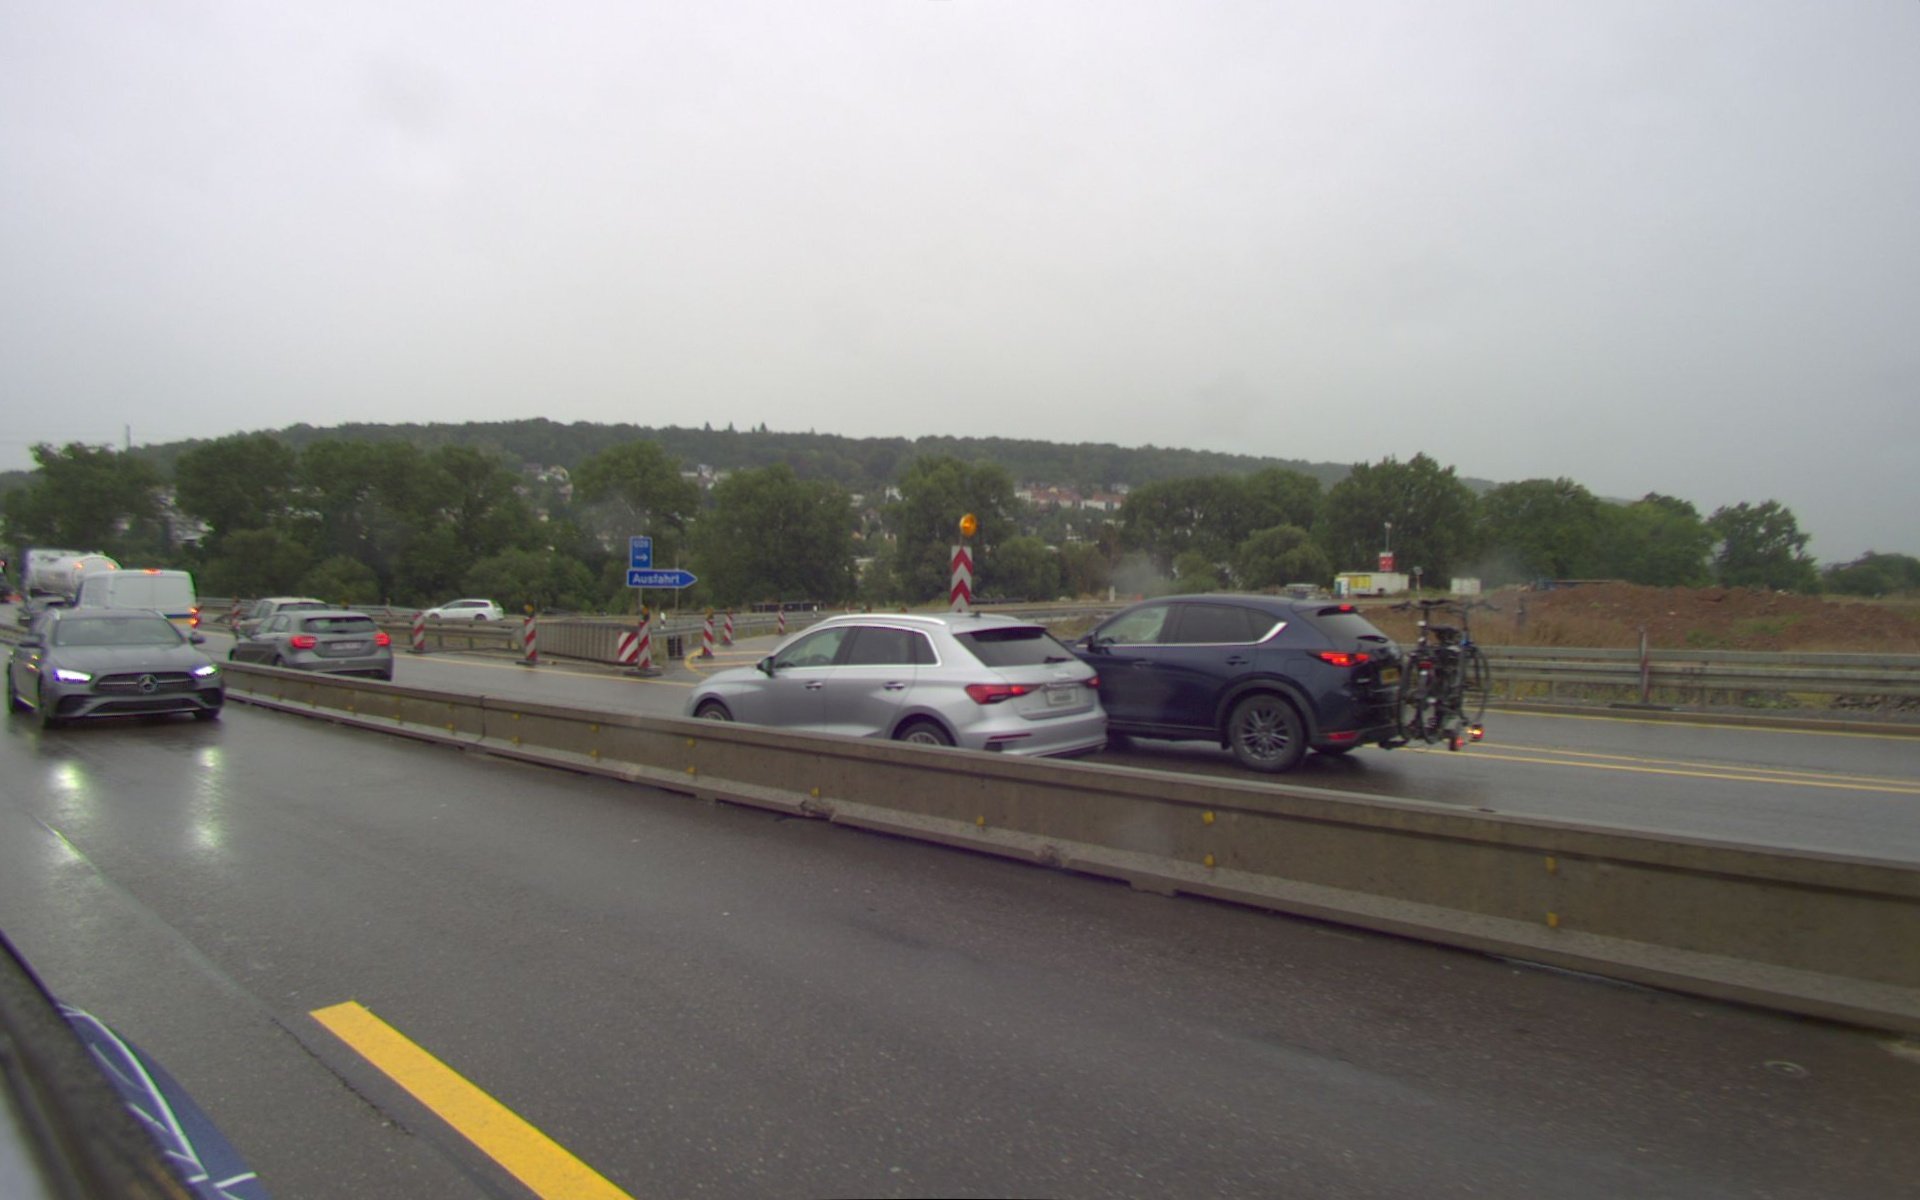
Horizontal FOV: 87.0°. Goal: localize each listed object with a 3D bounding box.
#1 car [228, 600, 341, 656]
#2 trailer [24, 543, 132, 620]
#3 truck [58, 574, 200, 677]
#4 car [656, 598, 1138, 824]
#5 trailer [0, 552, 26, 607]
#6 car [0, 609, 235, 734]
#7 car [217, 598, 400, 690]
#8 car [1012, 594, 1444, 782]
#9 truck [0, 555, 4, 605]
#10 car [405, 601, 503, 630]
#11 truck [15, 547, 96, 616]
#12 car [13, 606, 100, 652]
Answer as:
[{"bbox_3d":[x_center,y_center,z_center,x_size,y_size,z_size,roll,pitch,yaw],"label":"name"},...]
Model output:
[{"bbox_3d":[-19.998,0.779,29.895,3.997,1.558,1.769,0,0,41],"label":"car"},{"bbox_3d":[-47.060,-0.977,53.826,11.995,3.705,2.594,1,0,40],"label":"trailer"},{"bbox_3d":[-23.185,0.592,28.142,5.958,2.595,2.057,1,1,41],"label":"truck"},{"bbox_3d":[-0.744,0.784,8.944,4.342,1.535,1.659,-1,-1,41],"label":"car"},{"bbox_3d":[-76.805,-1.601,79.995,15.352,4.072,2.721,1,1,41],"label":"trailer"},{"bbox_3d":[-11.835,0.872,14.072,4.482,1.449,1.926,-1,-1,42],"label":"car"},{"bbox_3d":[-12.377,0.749,19.128,4.309,1.550,1.768,0,0,41],"label":"car"},{"bbox_3d":[2.573,0.749,10.221,3.874,1.535,1.708,-1,-1,41],"label":"car"},{"bbox_3d":[-82.662,-1.700,85.146,6.145,4.092,2.721,1,1,41],"label":"truck"},{"bbox_3d":[-30.462,0.929,61.050,4.965,1.713,1.854,1,0,-9],"label":"car"},{"bbox_3d":[-51.797,-1.052,57.884,6.590,3.705,2.594,1,0,40],"label":"truck"},{"bbox_3d":[-32.836,1.004,36.744,4.676,1.516,1.754,0,0,41],"label":"car"}]
